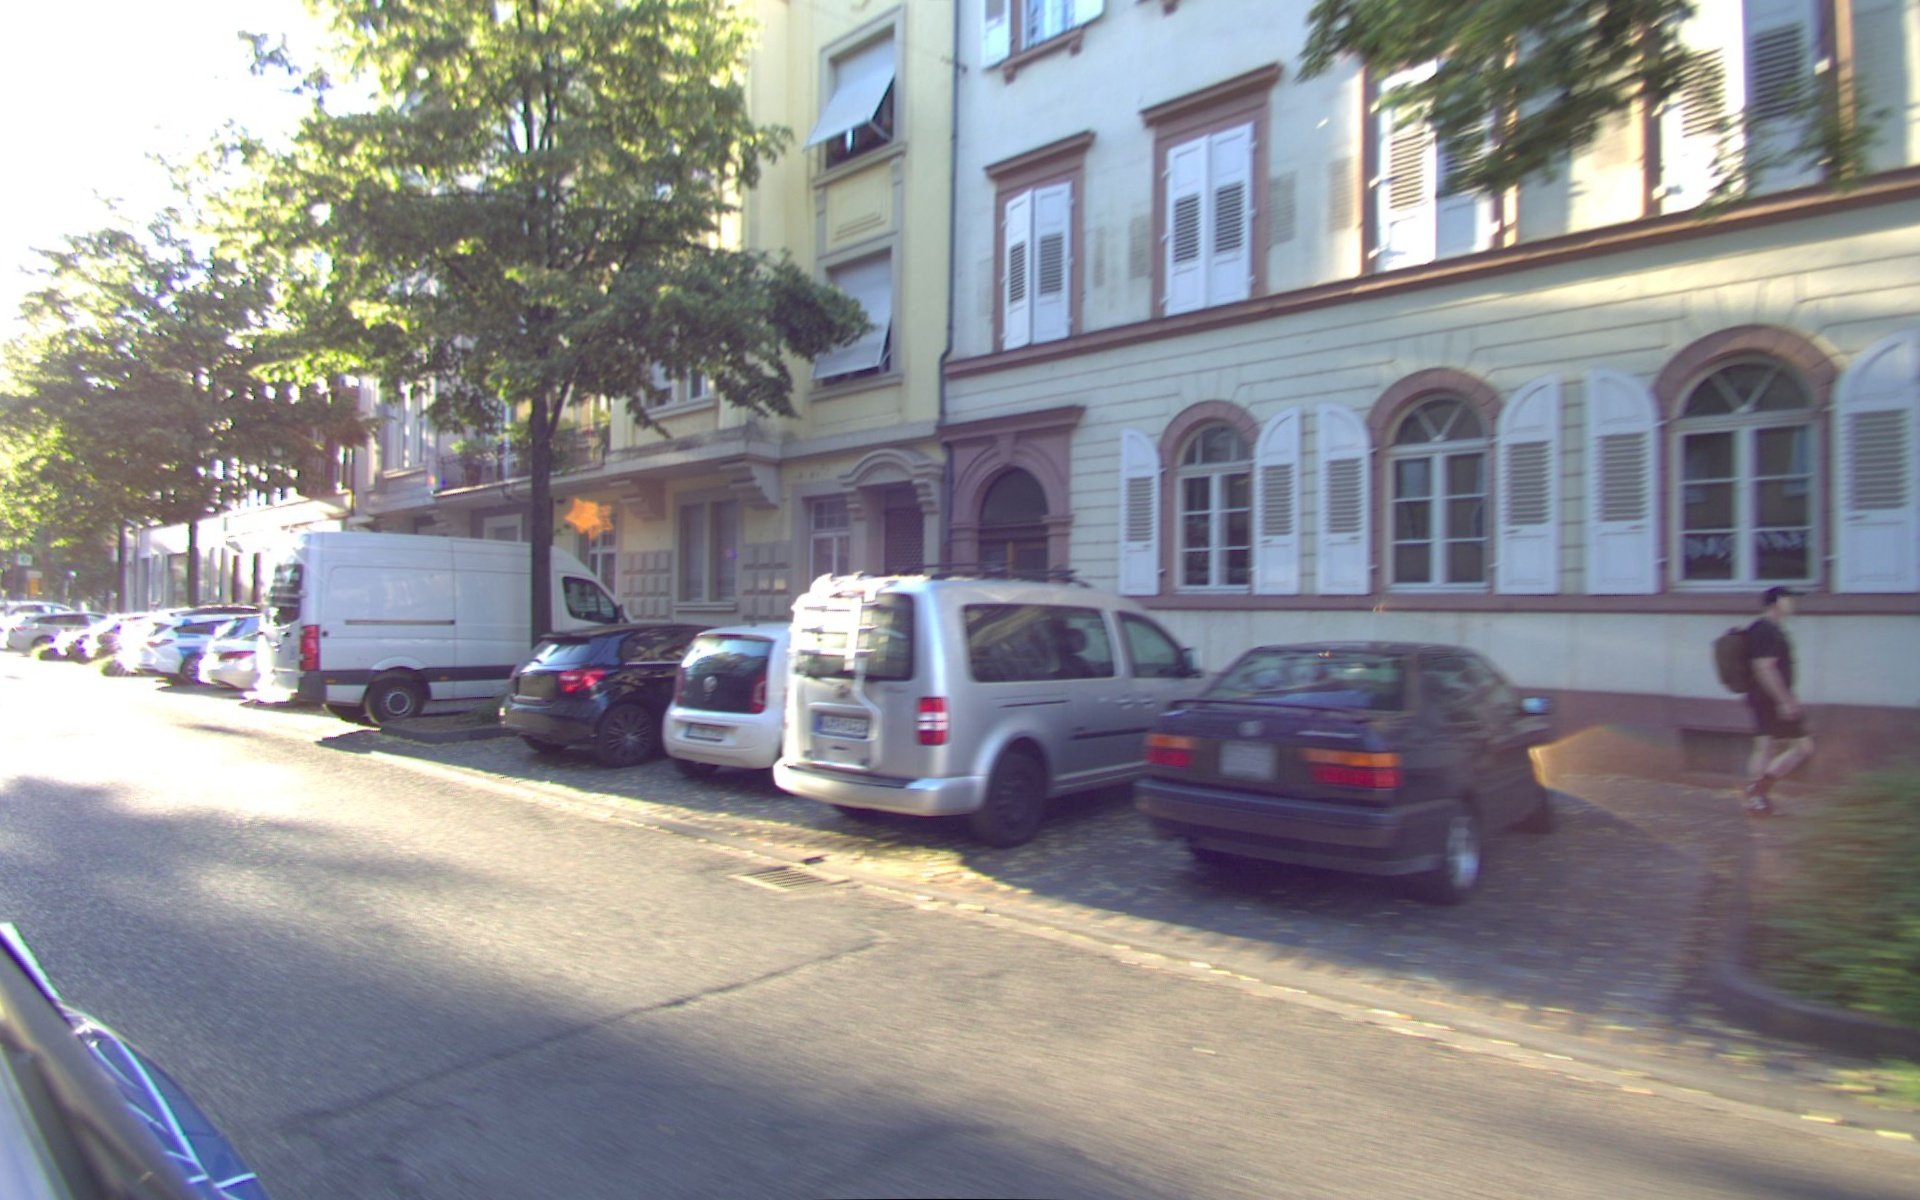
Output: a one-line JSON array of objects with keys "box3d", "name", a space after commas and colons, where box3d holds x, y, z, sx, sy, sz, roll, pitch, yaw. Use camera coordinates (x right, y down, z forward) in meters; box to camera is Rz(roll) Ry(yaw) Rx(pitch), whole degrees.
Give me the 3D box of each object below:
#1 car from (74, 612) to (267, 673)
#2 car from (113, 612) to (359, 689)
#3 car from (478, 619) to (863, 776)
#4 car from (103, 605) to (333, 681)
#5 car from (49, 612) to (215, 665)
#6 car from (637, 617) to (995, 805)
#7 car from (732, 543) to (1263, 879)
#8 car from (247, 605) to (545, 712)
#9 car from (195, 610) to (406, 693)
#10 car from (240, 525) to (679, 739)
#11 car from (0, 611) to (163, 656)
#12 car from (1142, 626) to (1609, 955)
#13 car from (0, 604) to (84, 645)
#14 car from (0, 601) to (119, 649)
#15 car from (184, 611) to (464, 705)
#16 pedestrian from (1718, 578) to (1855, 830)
[{"box3d": [-21.611, 1.097, 27.824, 1.694, 1.459, 3.878, -1, 0, 38], "name": "car"}, {"box3d": [-16.130, 1.047, 22.704, 1.968, 1.494, 4.144, -1, 0, 39], "name": "car"}, {"box3d": [-3.154, 0.959, 11.637, 1.749, 1.414, 3.946, 1, 0, 41], "name": "car"}, {"box3d": [-18.085, 0.971, 24.837, 1.890, 1.663, 4.192, -1, 0, 36], "name": "car"}, {"box3d": [-25.509, 1.137, 31.257, 1.789, 1.459, 3.744, -1, 0, 42], "name": "car"}, {"box3d": [-1.294, 0.932, 10.117, 1.710, 1.478, 3.338, -1, 0, 37], "name": "car"}, {"box3d": [0.567, 0.683, 8.243, 1.918, 1.968, 4.451, -1, -1, 42], "name": "car"}, {"box3d": [-9.790, 0.919, 17.799, 1.975, 1.612, 4.169, -1, 0, 41], "name": "car"}, {"box3d": [-13.692, 0.999, 21.093, 1.847, 1.521, 3.370, -1, 0, 44], "name": "car"}, {"box3d": [-7.304, 0.393, 15.383, 2.170, 2.641, 5.601, -1, 0, 40], "name": "car"}, {"box3d": [-31.124, 1.153, 35.821, 1.821, 1.434, 4.338, -1, 0, 40], "name": "car"}, {"box3d": [2.967, 0.918, 6.676, 1.593, 1.450, 4.108, -1, -1, 42], "name": "car"}, {"box3d": [-42.381, 1.072, 45.289, 1.945, 1.796, 4.510, 0, -1, 39], "name": "car"}, {"box3d": [-37.198, 0.981, 40.909, 2.052, 1.825, 4.658, -1, 0, 41], "name": "car"}, {"box3d": [-11.927, 1.003, 19.193, 1.792, 1.518, 4.170, -1, 0, 40], "name": "car"}, {"box3d": [6.374, 0.760, 7.822, 0.779, 1.815, 0.655, -1, -2, 41], "name": "pedestrian"}]
